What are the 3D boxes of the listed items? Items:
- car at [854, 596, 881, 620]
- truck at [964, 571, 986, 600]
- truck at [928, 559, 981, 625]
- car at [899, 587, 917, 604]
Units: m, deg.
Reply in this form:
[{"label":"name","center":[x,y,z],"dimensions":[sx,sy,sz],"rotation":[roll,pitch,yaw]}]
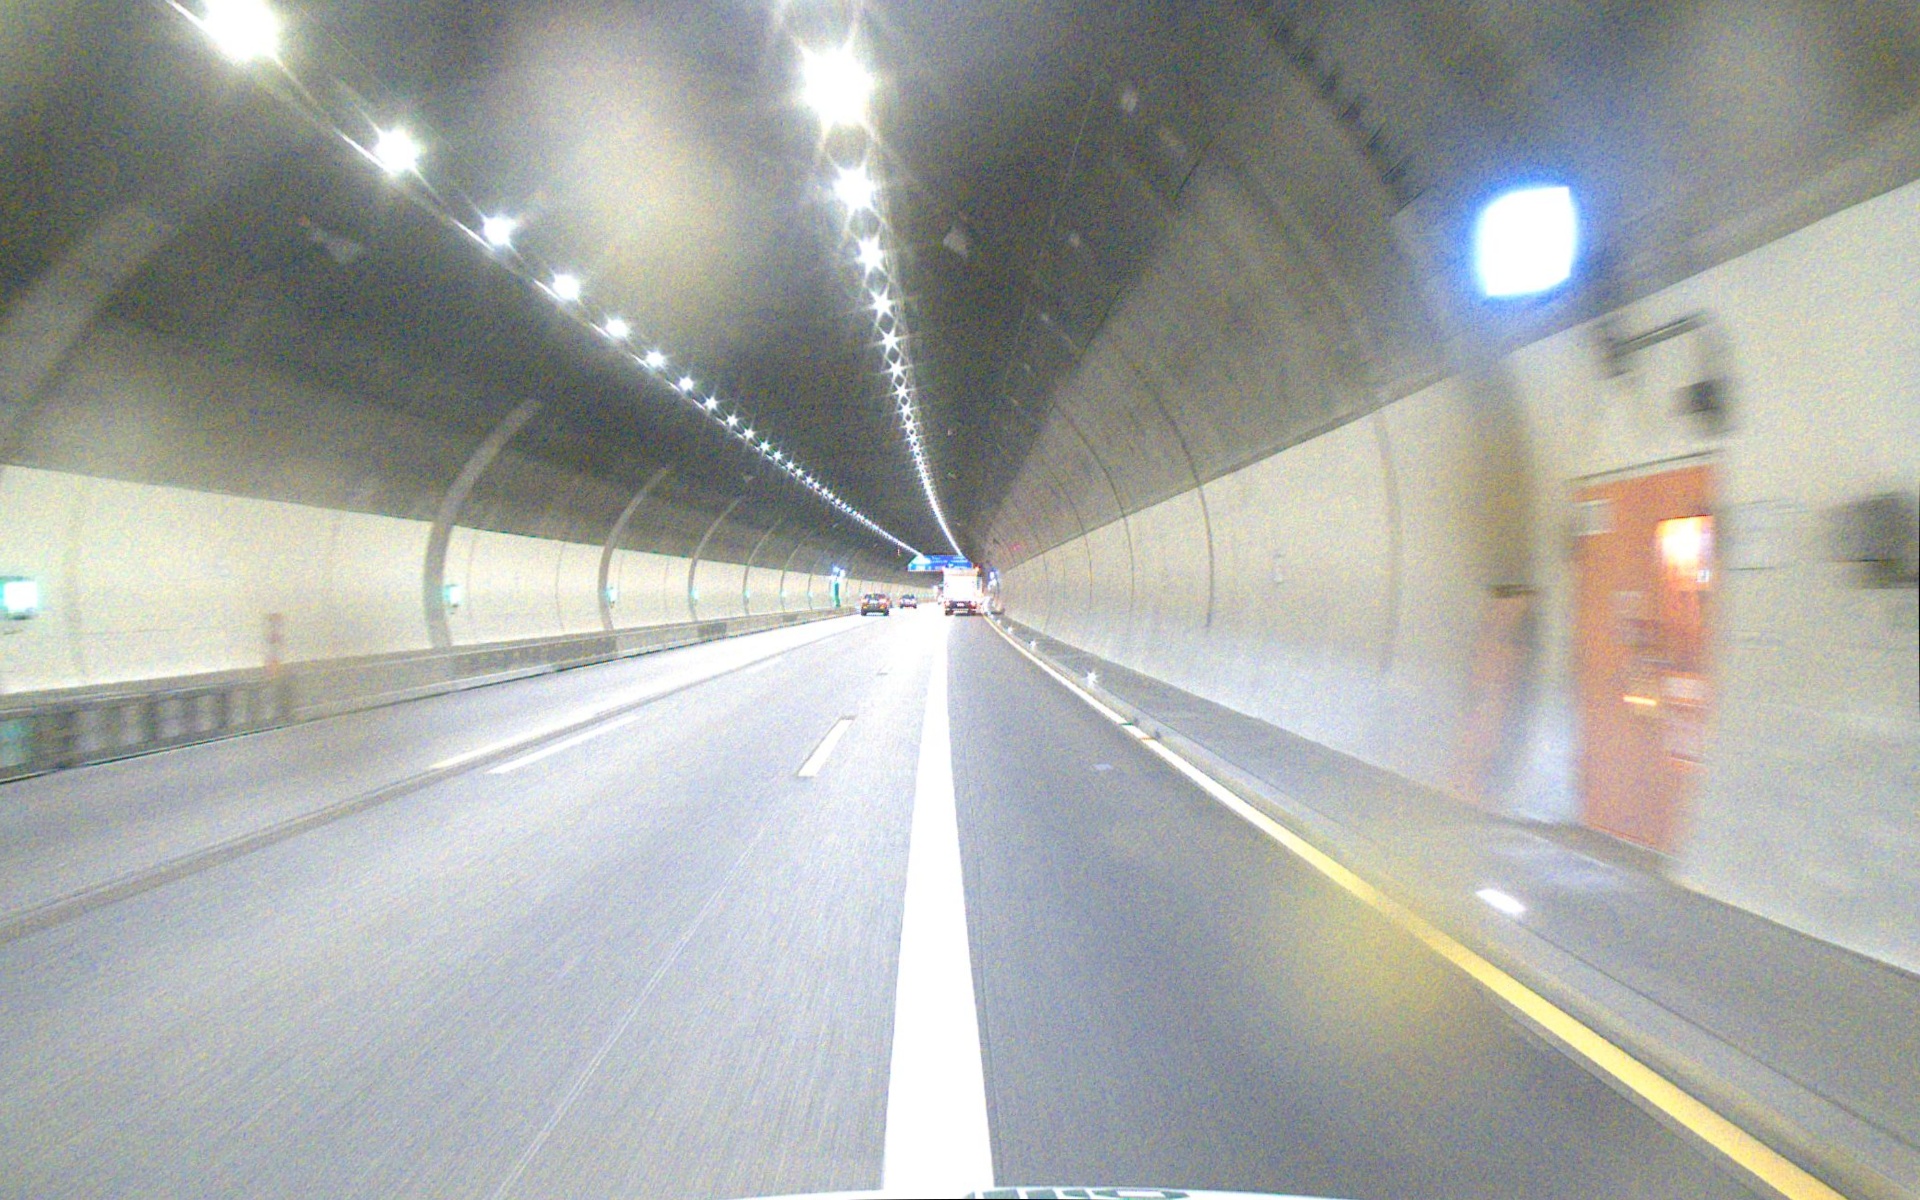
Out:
[{"label":"car","center":[-6.387,0.542,114.878],"dimensions":[1.776,1.646,3.999],"rotation":[0,1,-2]},{"label":"truck","center":[2.162,-2.197,248.793],"dimensions":[2.863,4.118,14.027],"rotation":[-1,0,-1]},{"label":"truck","center":[-0.555,-0.669,129.184],"dimensions":[3.213,4.731,17.277],"rotation":[-1,0,-3]},{"label":"car","center":[-5.372,-0.462,169.919],"dimensions":[1.776,1.546,3.999],"rotation":[0,2,-3]}]
